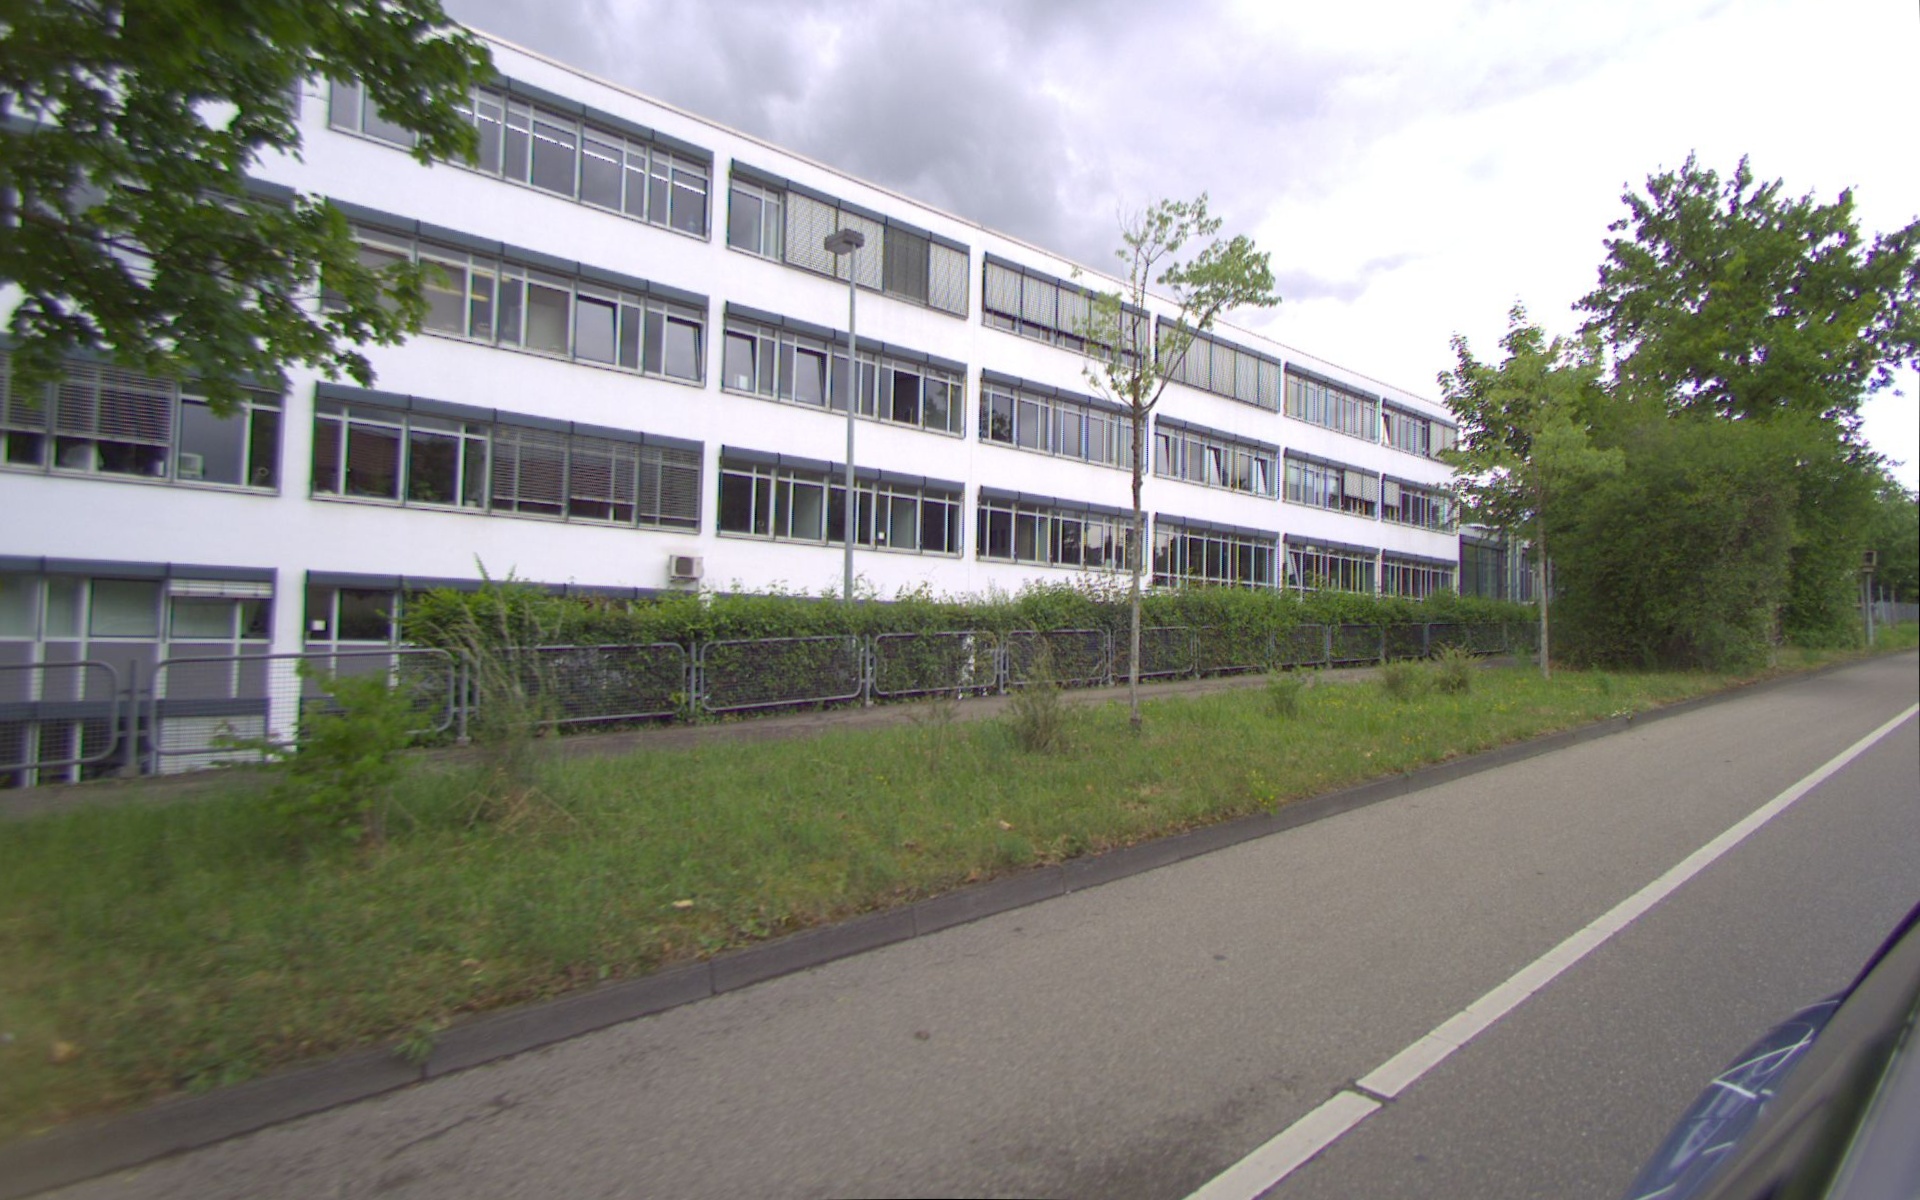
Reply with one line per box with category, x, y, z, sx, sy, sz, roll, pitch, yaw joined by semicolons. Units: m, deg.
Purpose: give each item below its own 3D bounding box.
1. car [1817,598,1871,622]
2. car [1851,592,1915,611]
car;57.460;0.655;65.756;4.891;1.435;1.850;1;-2;-40
car;85.407;0.155;93.695;1.786;1.467;4.182;2;-4;-41
